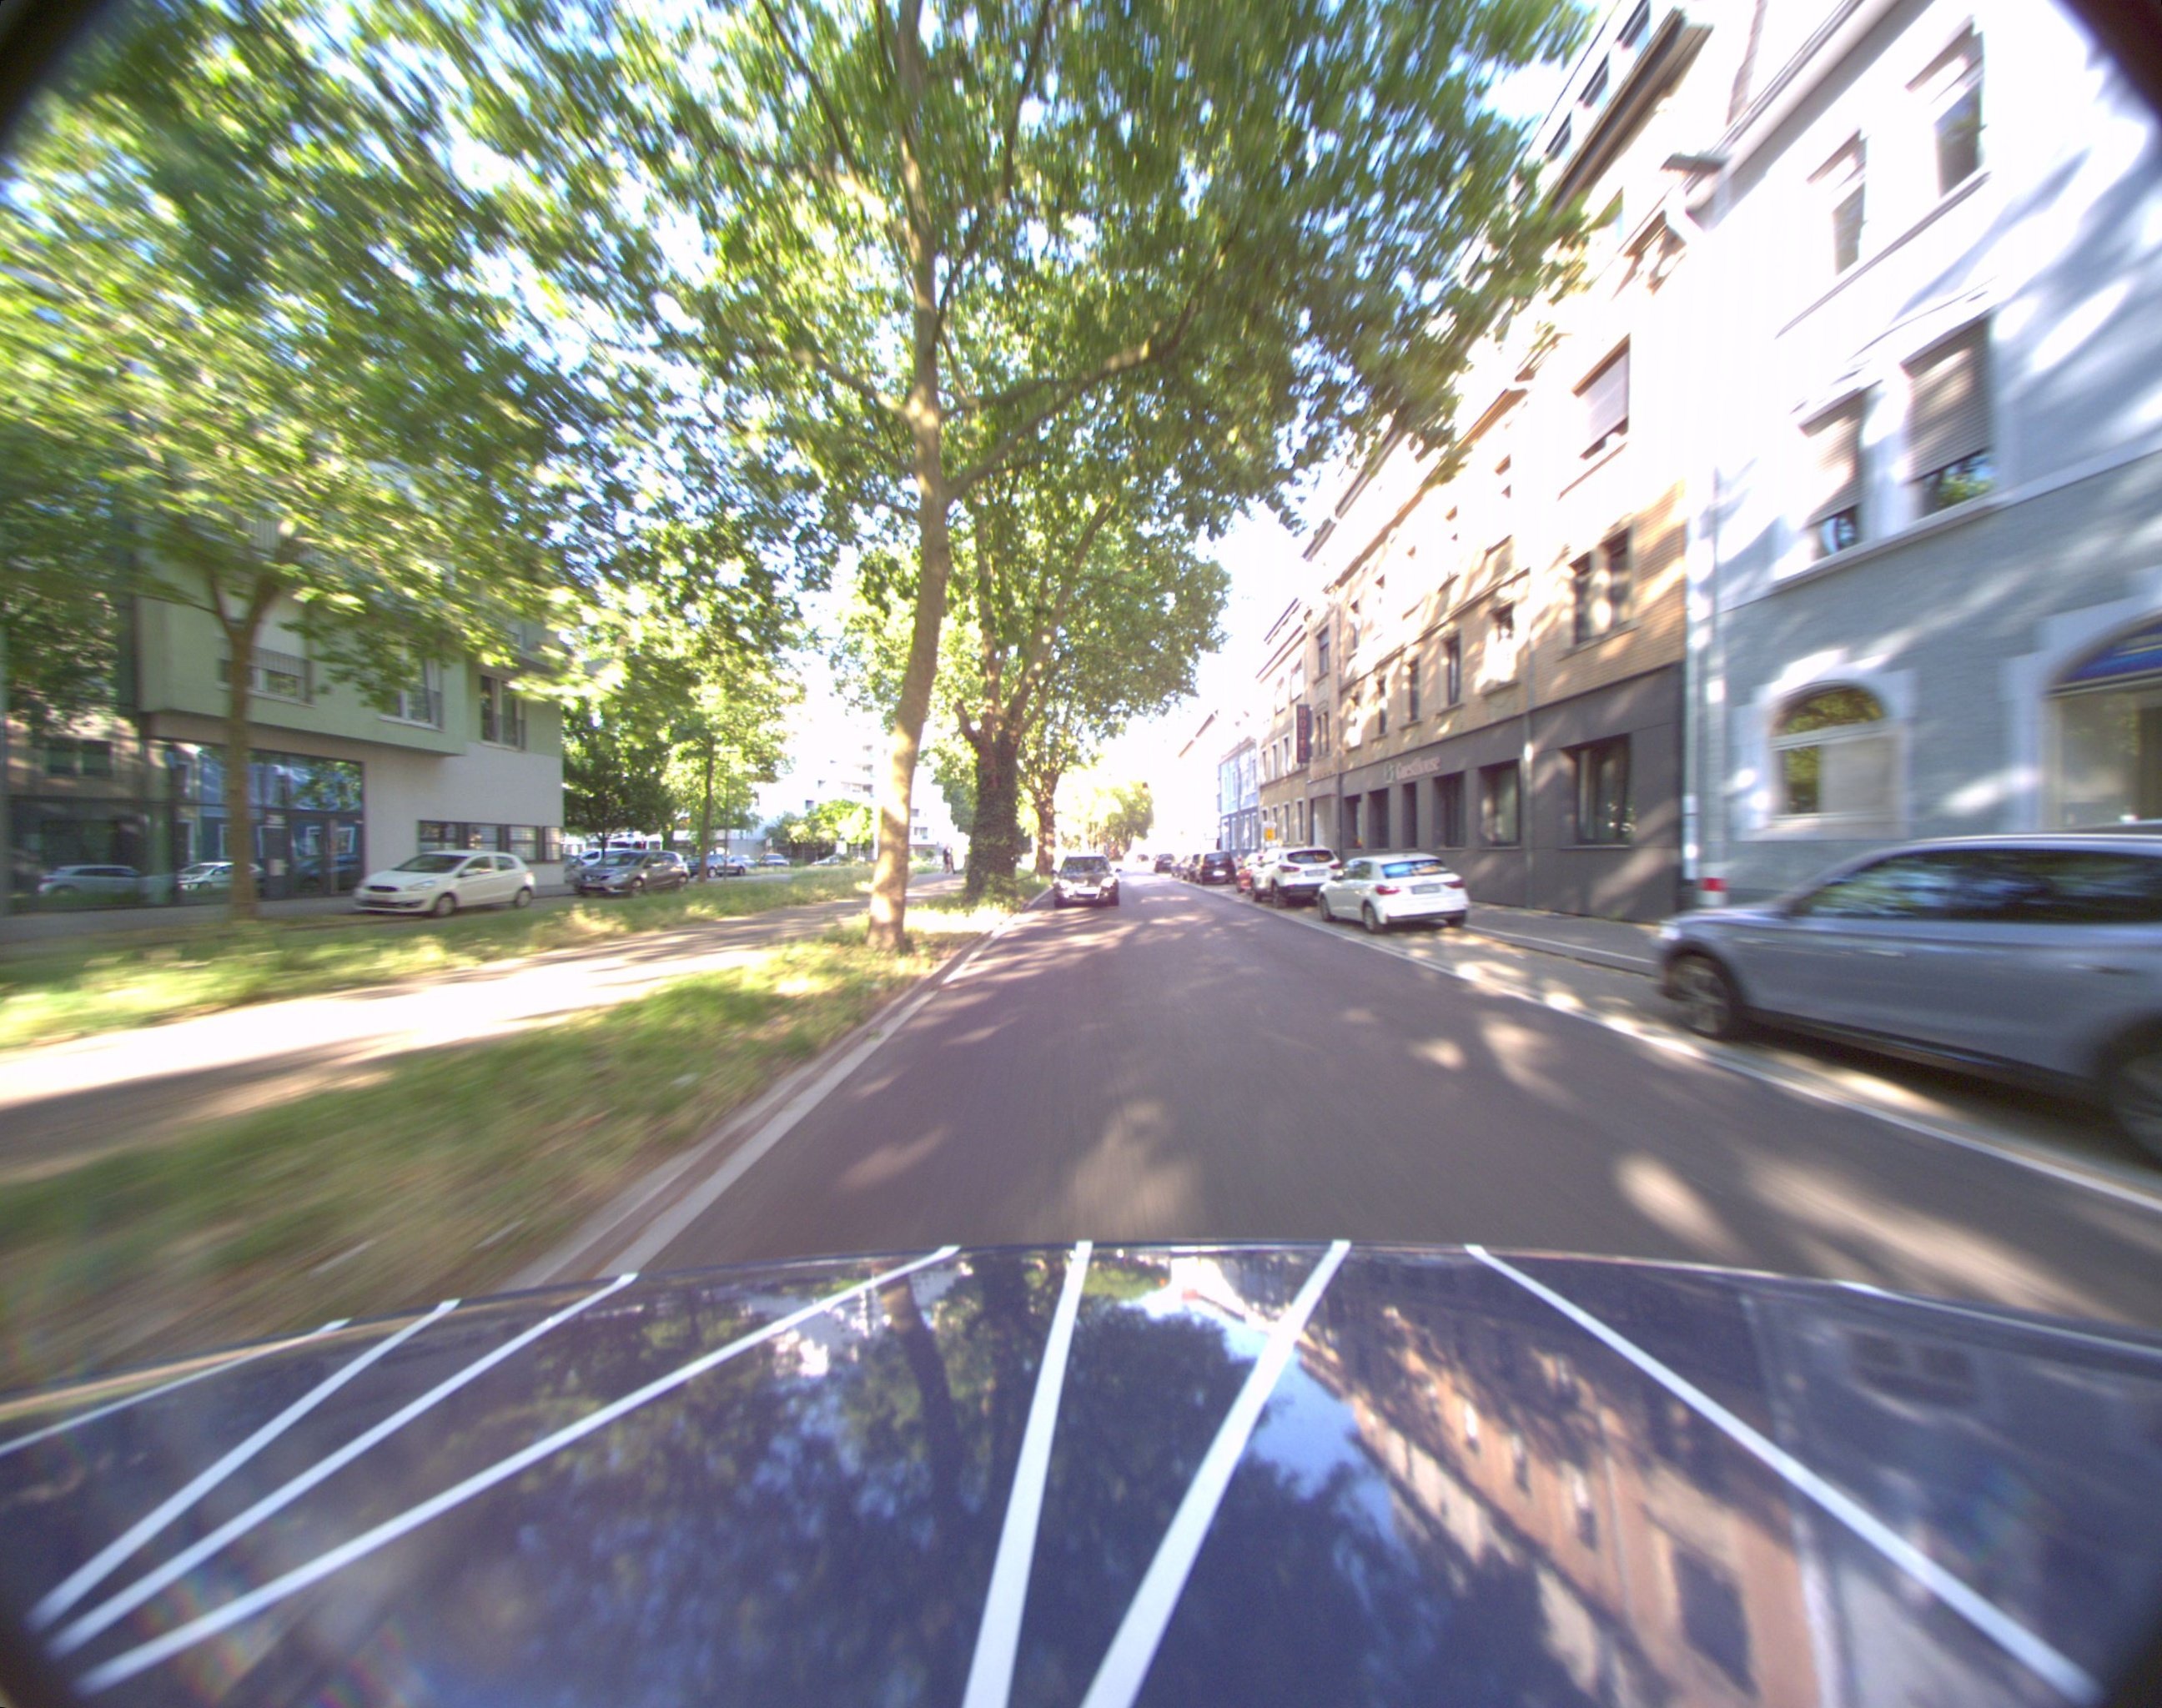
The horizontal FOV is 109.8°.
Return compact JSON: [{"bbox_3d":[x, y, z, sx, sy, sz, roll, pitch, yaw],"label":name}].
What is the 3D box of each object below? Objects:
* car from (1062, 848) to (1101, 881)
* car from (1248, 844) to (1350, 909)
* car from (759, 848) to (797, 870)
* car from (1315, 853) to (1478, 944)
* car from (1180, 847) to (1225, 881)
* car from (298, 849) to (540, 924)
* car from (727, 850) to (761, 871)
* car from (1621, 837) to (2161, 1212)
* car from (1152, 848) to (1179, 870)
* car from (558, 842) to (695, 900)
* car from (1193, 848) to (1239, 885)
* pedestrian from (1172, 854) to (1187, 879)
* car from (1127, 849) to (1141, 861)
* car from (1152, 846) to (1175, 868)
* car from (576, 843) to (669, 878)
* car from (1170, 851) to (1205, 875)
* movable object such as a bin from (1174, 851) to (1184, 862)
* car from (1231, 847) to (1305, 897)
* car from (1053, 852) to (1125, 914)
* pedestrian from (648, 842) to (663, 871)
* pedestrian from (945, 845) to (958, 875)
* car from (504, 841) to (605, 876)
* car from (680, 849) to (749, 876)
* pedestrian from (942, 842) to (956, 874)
[{"bbox_3d":[0.037,0.440,34.577,1.654,1.445,3.534,0,0,1],"label":"car"},{"bbox_3d":[5.900,0.549,21.052,1.682,1.575,4.200,-2,0,1],"label":"car"},{"bbox_3d":[-25.324,0.489,63.410,1.942,1.649,4.467,2,-3,-34],"label":"car"},{"bbox_3d":[6.074,0.775,15.147,1.682,1.487,3.871,-2,0,1],"label":"car"},{"bbox_3d":[6.470,0.513,40.754,1.786,1.663,4.156,-2,0,1],"label":"car"},{"bbox_3d":[-15.226,0.661,17.866,1.863,1.534,4.319,0,0,0],"label":"car"},{"bbox_3d":[-28.024,0.540,63.075,1.832,1.577,4.359,2,-3,-34],"label":"car"},{"bbox_3d":[5.809,0.748,4.571,1.912,1.632,4.577,-2,0,1],"label":"car"},{"bbox_3d":[6.689,0.372,60.296,1.910,1.663,4.494,-2,0,4],"label":"car"},{"bbox_3d":[-14.935,0.503,25.274,1.909,1.760,4.319,0,0,0],"label":"car"},{"bbox_3d":[6.316,0.540,35.928,1.681,1.595,3.706,-2,0,3],"label":"car"},{"bbox_3d":[6.052,0.774,46.768,0.865,1.561,0.706,0,1,4],"label":"pedestrian"},{"bbox_3d":[8.034,0.204,115.499,1.898,1.782,4.000,0,0,2],"label":"car"},{"bbox_3d":[7.097,0.247,65.977,1.668,1.808,4.005,-2,0,2],"label":"car"},{"bbox_3d":[-29.386,0.498,48.947,1.997,2.083,5.061,0,-3,17],"label":"car"},{"bbox_3d":[6.982,0.560,50.116,1.654,1.478,4.262,-2,0,-1],"label":"car"},{"bbox_3d":[10.884,0.288,84.482,1.033,1.278,1.063,0,1,12],"label":"movable object such as a bin"},{"bbox_3d":[6.480,0.570,26.690,1.682,1.583,3.756,-2,0,1],"label":"car"},{"bbox_3d":[0.269,0.750,22.246,1.844,1.536,4.524,-2,0,1],"label":"car"},{"bbox_3d":[-26.168,0.142,46.724,0.560,1.742,0.532,-1,2,12],"label":"pedestrian"},{"bbox_3d":[-8.125,0.388,47.675,0.785,1.869,0.802,-1,1,-10],"label":"pedestrian"},{"bbox_3d":[-24.429,0.253,35.396,1.672,1.445,3.564,-1,-3,17],"label":"car"},{"bbox_3d":[-22.266,0.555,46.366,1.673,1.513,3.992,0,-3,12],"label":"car"},{"bbox_3d":[-8.107,0.251,46.540,0.839,1.921,0.781,-1,1,-11],"label":"pedestrian"}]
